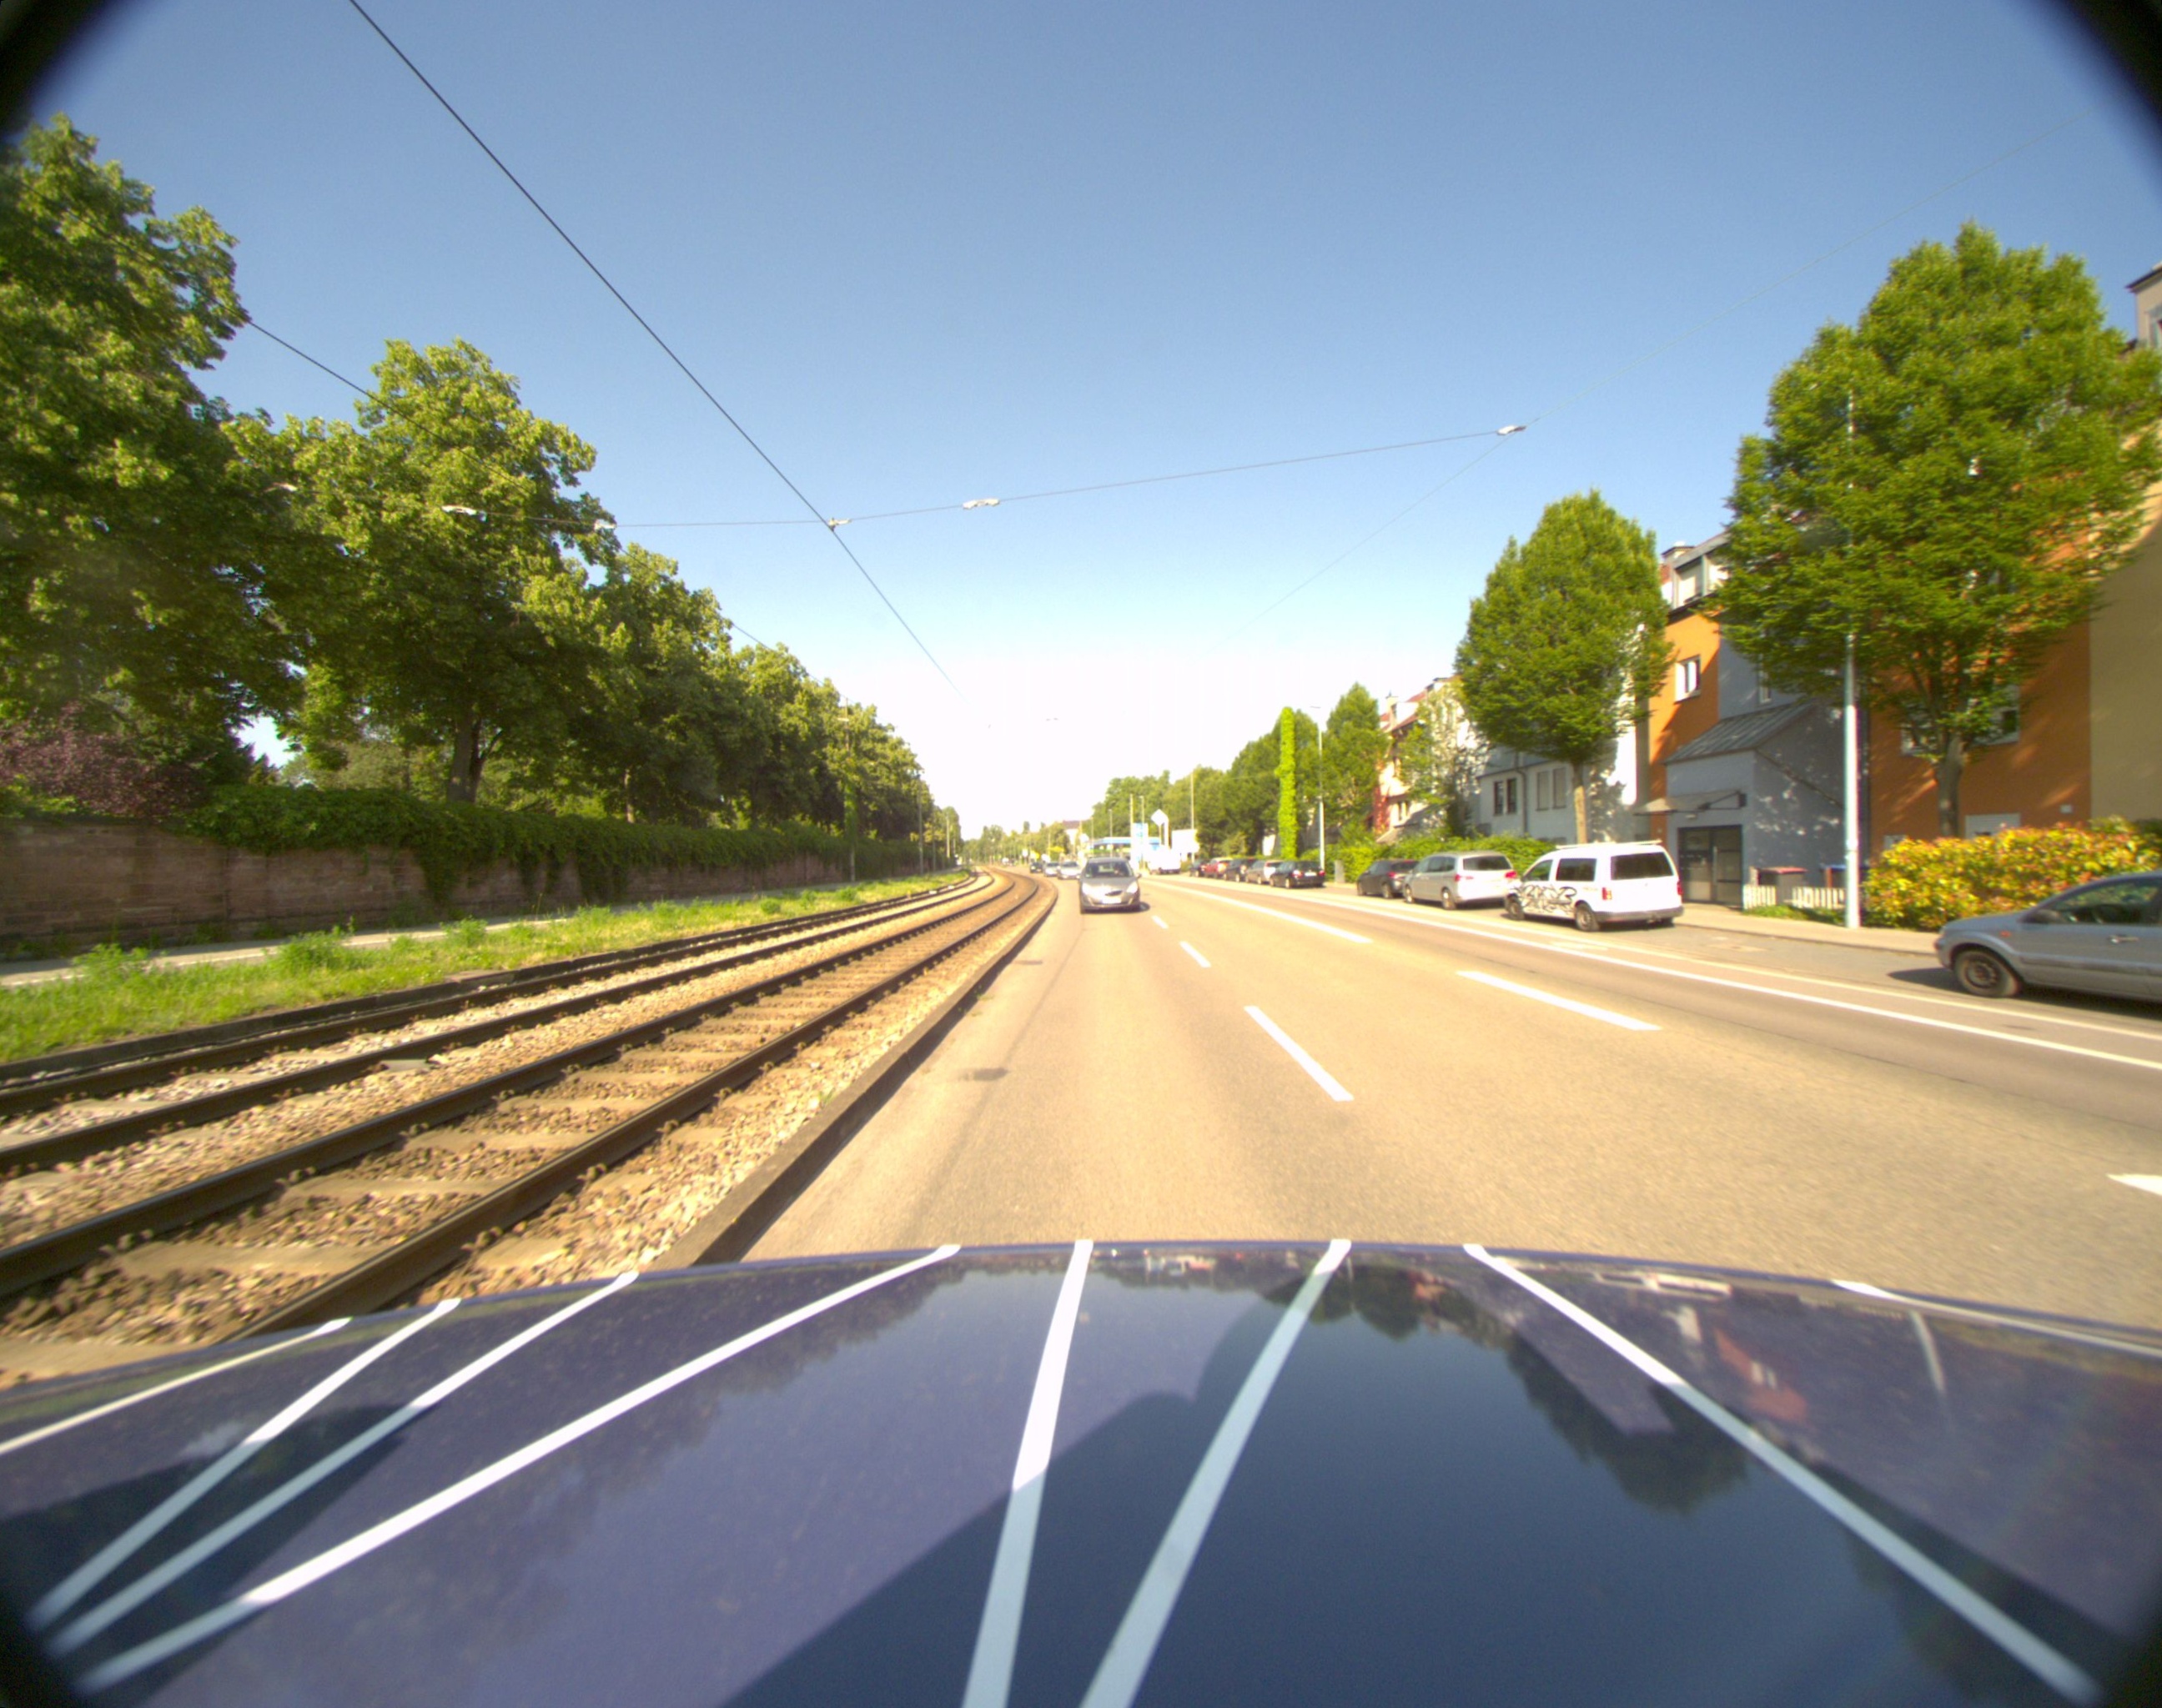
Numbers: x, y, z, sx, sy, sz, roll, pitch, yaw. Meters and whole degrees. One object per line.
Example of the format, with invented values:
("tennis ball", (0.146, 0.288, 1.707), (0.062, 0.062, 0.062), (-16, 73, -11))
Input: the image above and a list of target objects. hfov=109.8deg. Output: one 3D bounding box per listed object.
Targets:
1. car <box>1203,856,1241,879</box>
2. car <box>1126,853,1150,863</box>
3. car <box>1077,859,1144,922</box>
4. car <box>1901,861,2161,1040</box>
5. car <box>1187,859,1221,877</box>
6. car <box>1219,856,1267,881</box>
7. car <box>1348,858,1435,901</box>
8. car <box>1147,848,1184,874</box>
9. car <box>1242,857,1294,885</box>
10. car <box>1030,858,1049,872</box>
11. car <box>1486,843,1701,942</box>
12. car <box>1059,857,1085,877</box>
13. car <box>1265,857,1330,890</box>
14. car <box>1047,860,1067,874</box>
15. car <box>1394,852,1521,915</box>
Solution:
("car", (10.664, 1.006, 57.769), (1.768, 1.565, 4.159), (-1, 1, -5))
("car", (12.419, 0.873, 165.638), (5.085, 1.929, 1.857), (0, 0, -3))
("car", (0.783, 0.963, 21.925), (1.730, 1.574, 3.763), (-2, 0, 0))
("car", (11.139, 0.930, 7.504), (1.767, 1.530, 3.982), (-5, 0, 2))
("car", (10.180, 1.113, 63.084), (1.657, 1.416, 4.711), (-1, 0, -5))
("car", (10.986, 0.954, 51.890), (1.768, 1.564, 4.434), (-2, 0, -8))
("car", (11.860, 0.919, 29.307), (1.620, 1.457, 4.058), (-2, 0, 0))
("car", (8.579, 0.677, 77.955), (2.159, 2.443, 6.180), (-3, 0, -8))
("car", (11.377, 1.008, 46.539), (1.717, 1.463, 4.842), (-3, 1, -3))
("car", (-5.161, 1.349, 93.742), (1.711, 1.581, 3.996), (-2, 0, -11))
("car", (11.613, 0.787, 17.694), (1.767, 1.835, 4.580), (-5, 0, 0))
("car", (-0.755, 1.013, 61.359), (1.711, 1.487, 3.998), (-2, 0, -7))
("car", (11.452, 0.974, 40.560), (1.871, 1.535, 4.909), (-3, 0, -2))
("car", (-2.365, 1.246, 73.895), (1.579, 1.306, 3.998), (-2, 0, -7))
("car", (11.602, 0.834, 23.848), (1.672, 1.691, 4.824), (-3, 0, 2))
